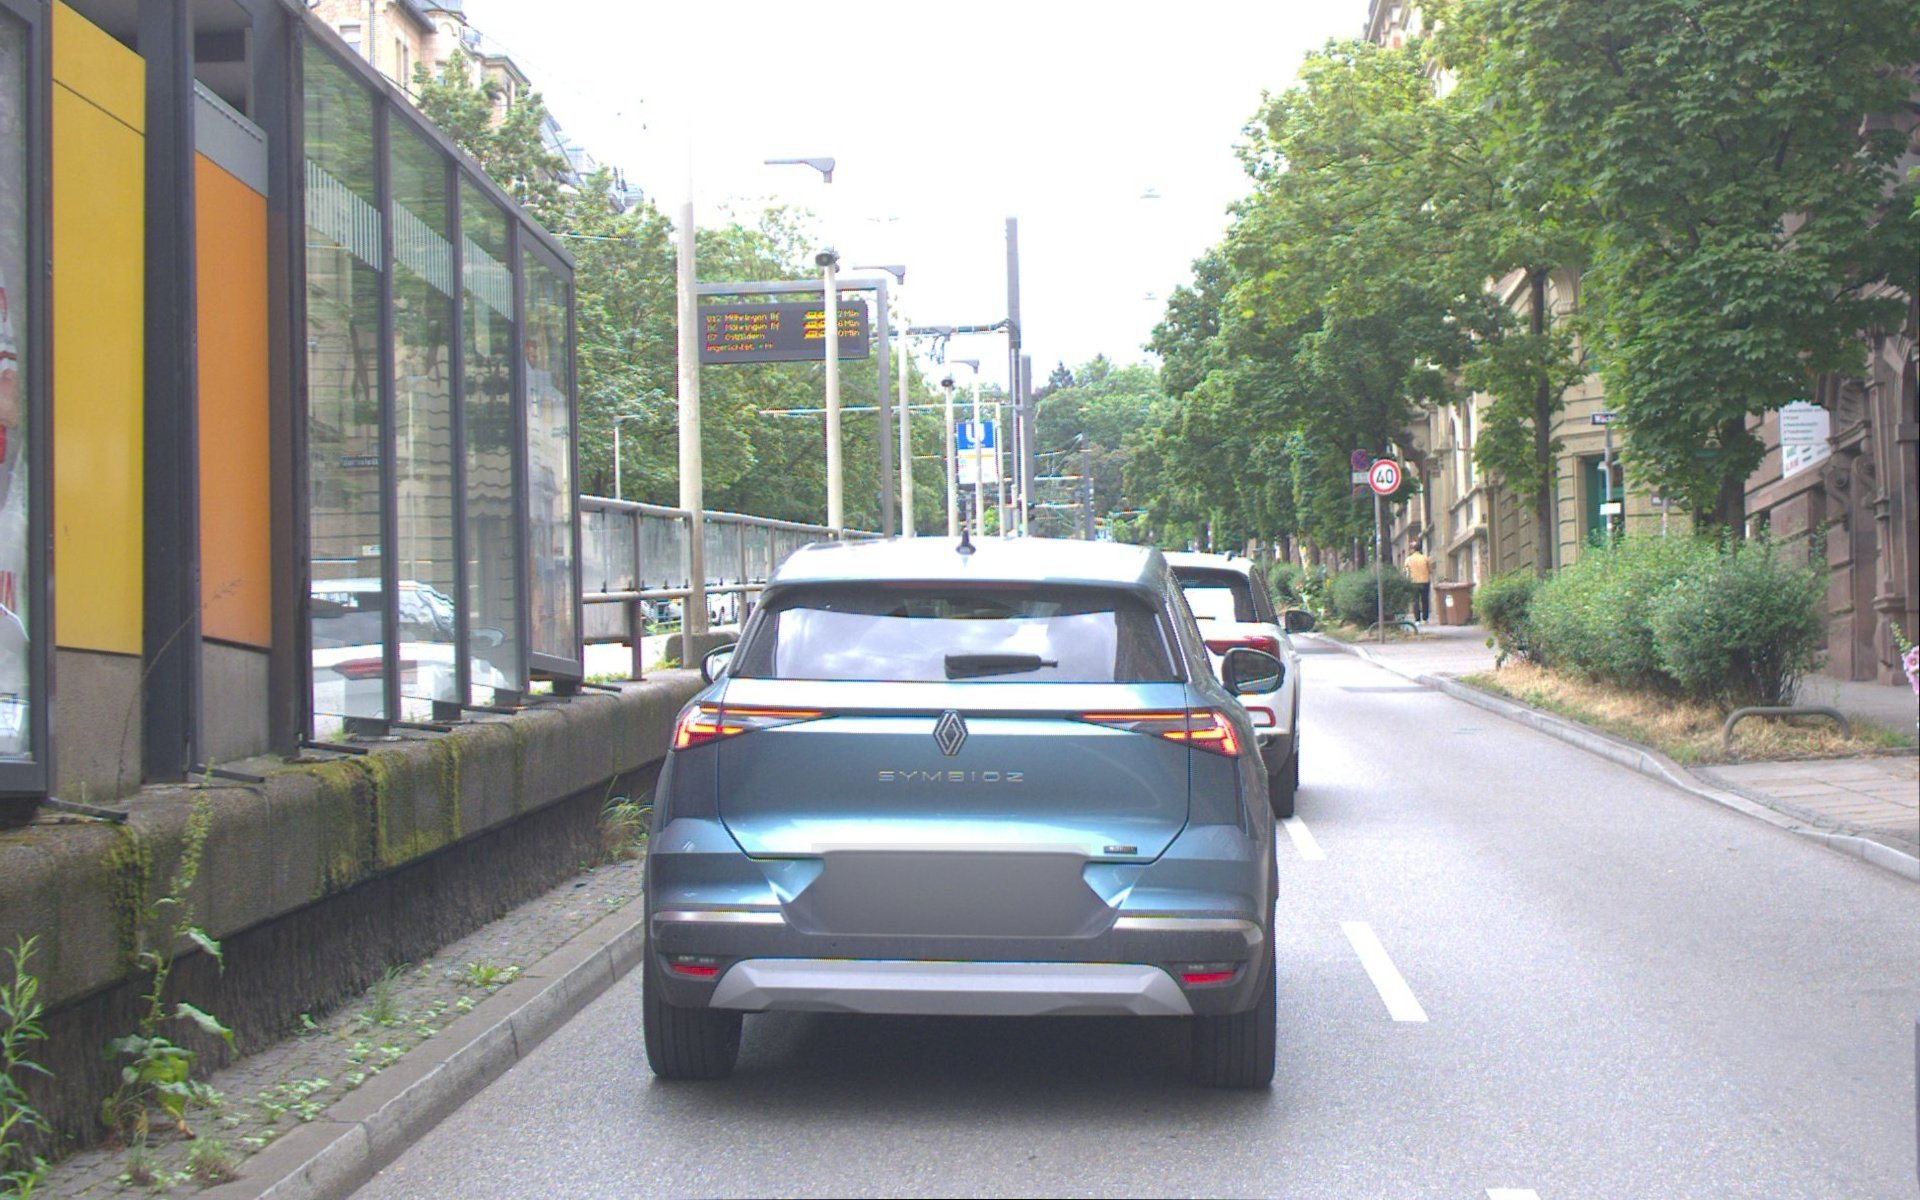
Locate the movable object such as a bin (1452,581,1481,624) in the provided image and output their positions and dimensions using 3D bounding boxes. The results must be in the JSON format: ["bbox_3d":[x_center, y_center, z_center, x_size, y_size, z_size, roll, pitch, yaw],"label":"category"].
[{"bbox_3d":[11.004,0.058,74.696,0.501,0.916,0.443,-1,1,23],"label":"movable object such as a bin"}]

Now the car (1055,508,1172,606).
[{"bbox_3d":[2.575,-0.685,56.822,1.836,1.541,4.193,1,0,4],"label":"car"}]

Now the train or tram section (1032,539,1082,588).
[{"bbox_3d":[7.014,-2.589,246.756,2.996,3.337,13.436,-1,0,4],"label":"train or tram section"}]

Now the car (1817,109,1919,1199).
[{"bbox_3d":[2.717,0.315,3.908,2.257,2.279,5.967,0,1,3],"label":"car"}]

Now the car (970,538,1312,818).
[{"bbox_3d":[1.221,0.428,21.347,1.836,1.541,4.192,1,0,7],"label":"car"}]

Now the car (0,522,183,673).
[{"bbox_3d":[-14.315,-0.067,55.521,1.994,2.297,5.455,-1,1,3],"label":"car"}]

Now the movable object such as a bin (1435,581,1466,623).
[{"bbox_3d":[10.846,0.043,75.953,0.612,0.916,0.493,-3,0,6],"label":"movable object such as a bin"}]

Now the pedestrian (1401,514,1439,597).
[{"bbox_3d":[10.263,-0.987,76.770,0.686,1.823,1.121,-2,0,3],"label":"pedestrian"}]

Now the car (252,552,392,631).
[{"bbox_3d":[-12.261,-0.180,66.290,1.768,1.466,4.261,0,1,2],"label":"car"}]

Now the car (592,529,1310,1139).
[{"bbox_3d":[0.103,0.592,10.952,1.836,1.541,4.193,1,0,4],"label":"car"}]
